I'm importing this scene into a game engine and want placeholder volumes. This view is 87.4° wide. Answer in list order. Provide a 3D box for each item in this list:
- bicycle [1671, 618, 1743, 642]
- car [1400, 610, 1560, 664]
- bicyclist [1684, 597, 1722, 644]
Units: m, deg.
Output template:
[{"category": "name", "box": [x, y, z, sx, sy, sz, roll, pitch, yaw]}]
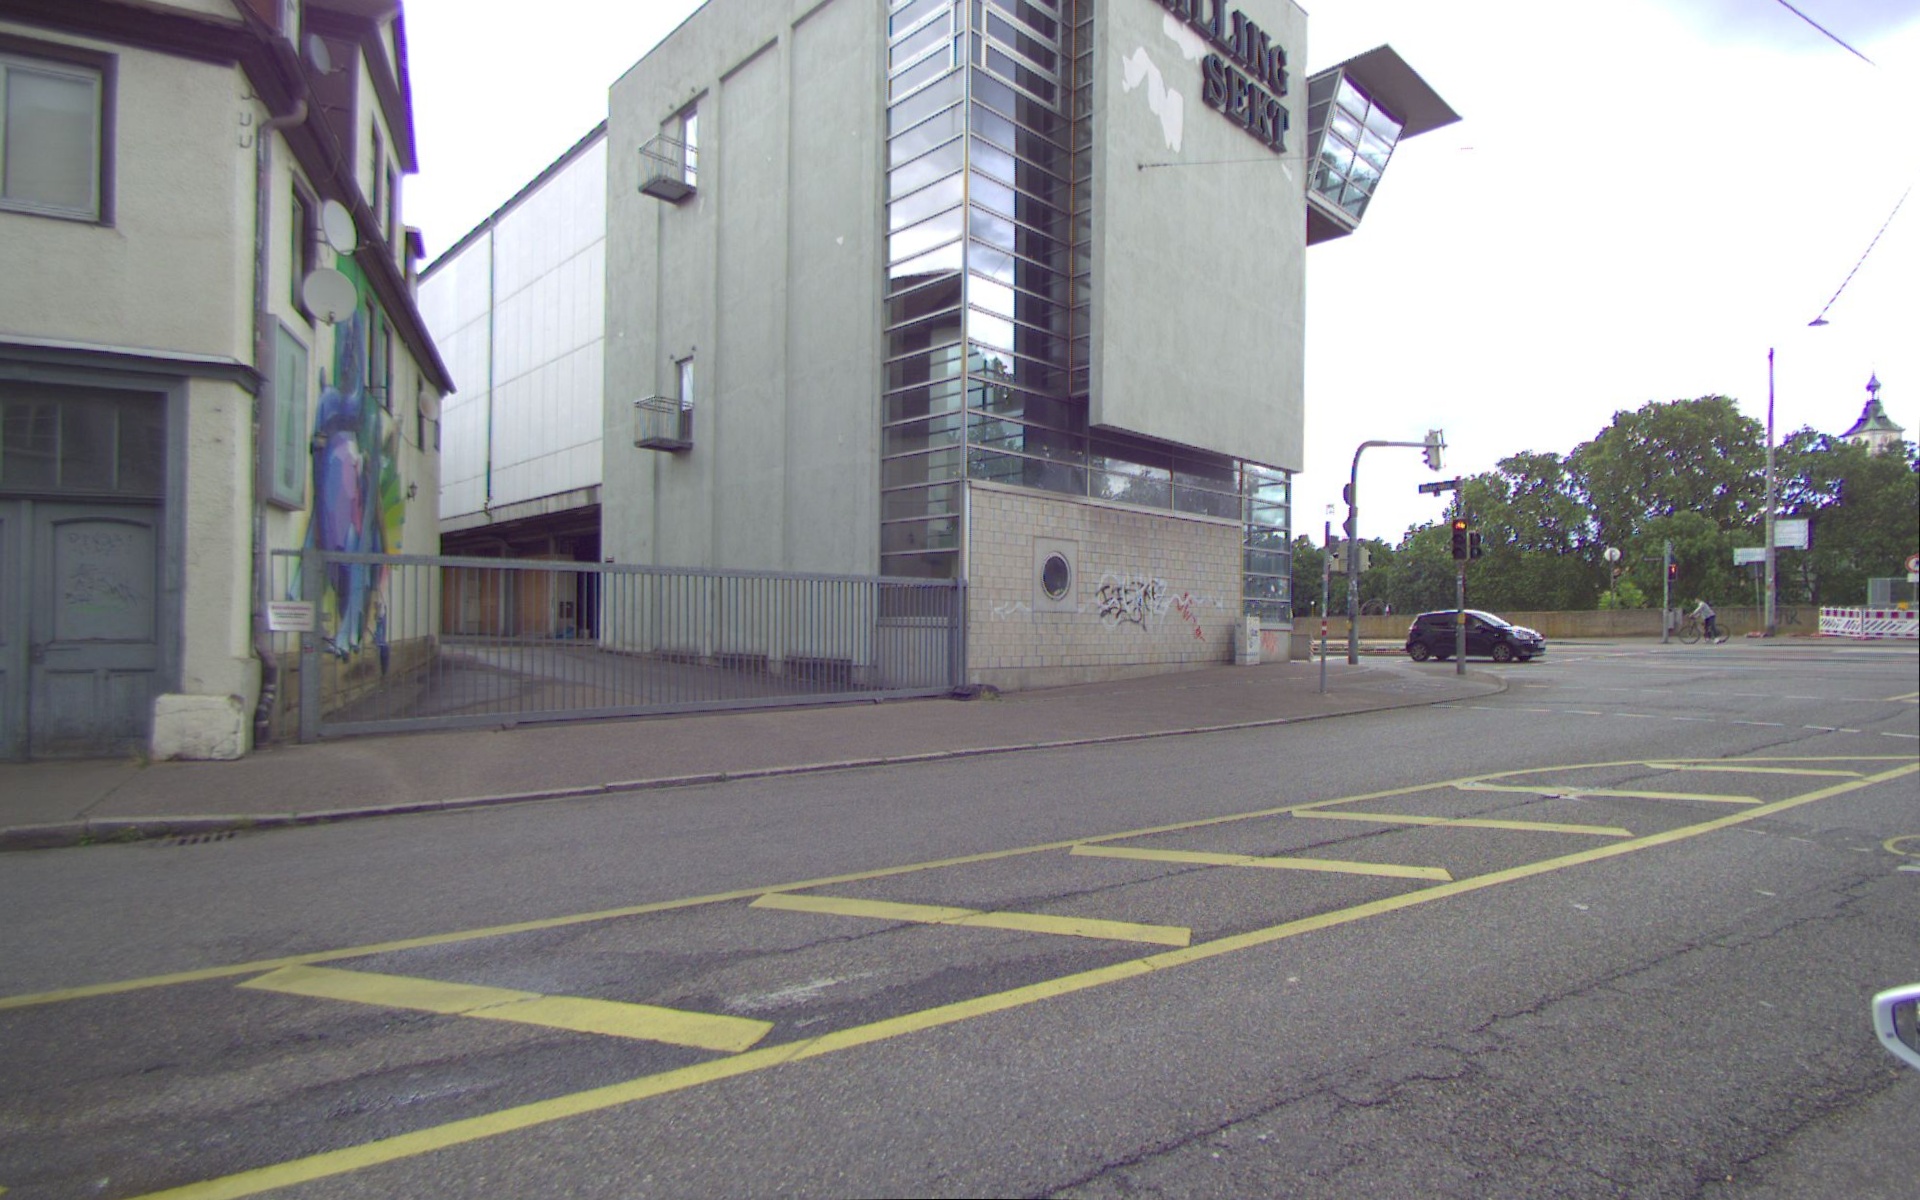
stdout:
[{"category": "bicycle", "box": [28.767, 1.151, 38.710, 2.095, 0.904, 0.760, -1, 0, 17]}, {"category": "car", "box": [15.163, 1.079, 29.421, 1.813, 1.447, 3.714, -1, -2, -39]}, {"category": "bicyclist", "box": [28.652, 0.782, 38.739, 0.985, 1.767, 0.755, 0, 0, 19]}]
